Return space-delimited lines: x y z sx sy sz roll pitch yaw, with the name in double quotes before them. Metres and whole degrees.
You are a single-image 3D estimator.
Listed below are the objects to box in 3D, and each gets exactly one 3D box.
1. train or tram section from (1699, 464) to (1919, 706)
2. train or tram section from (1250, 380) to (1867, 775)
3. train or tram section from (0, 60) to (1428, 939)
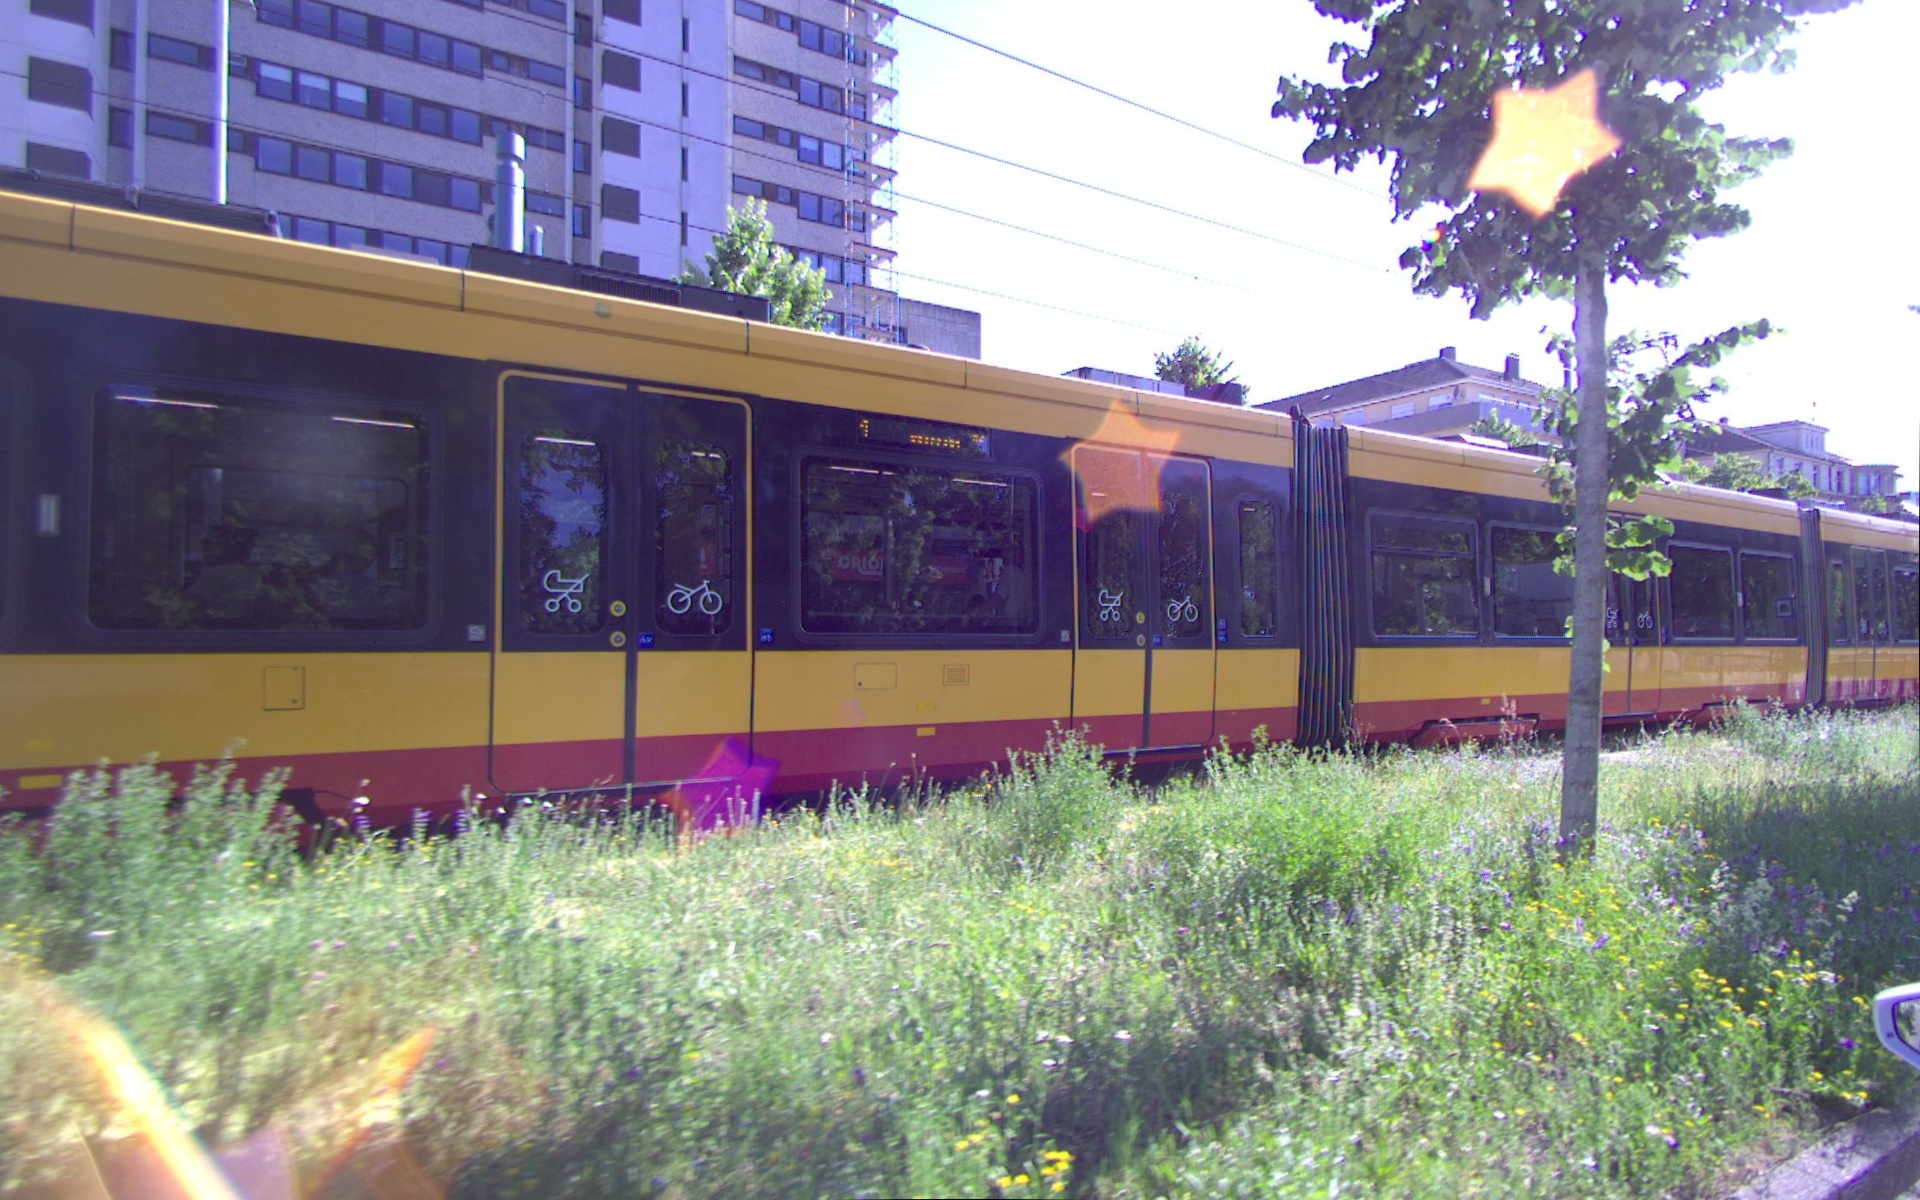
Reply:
"train or tram section" 18.093 -0.113 19.260 11.548 3.718 1.984 1 -1 -31
"train or tram section" 8.520 -0.094 13.226 11.187 3.718 1.983 1 -1 -31
"train or tram section" -2.031 -0.359 6.679 13.993 3.718 1.983 1 -1 -32
